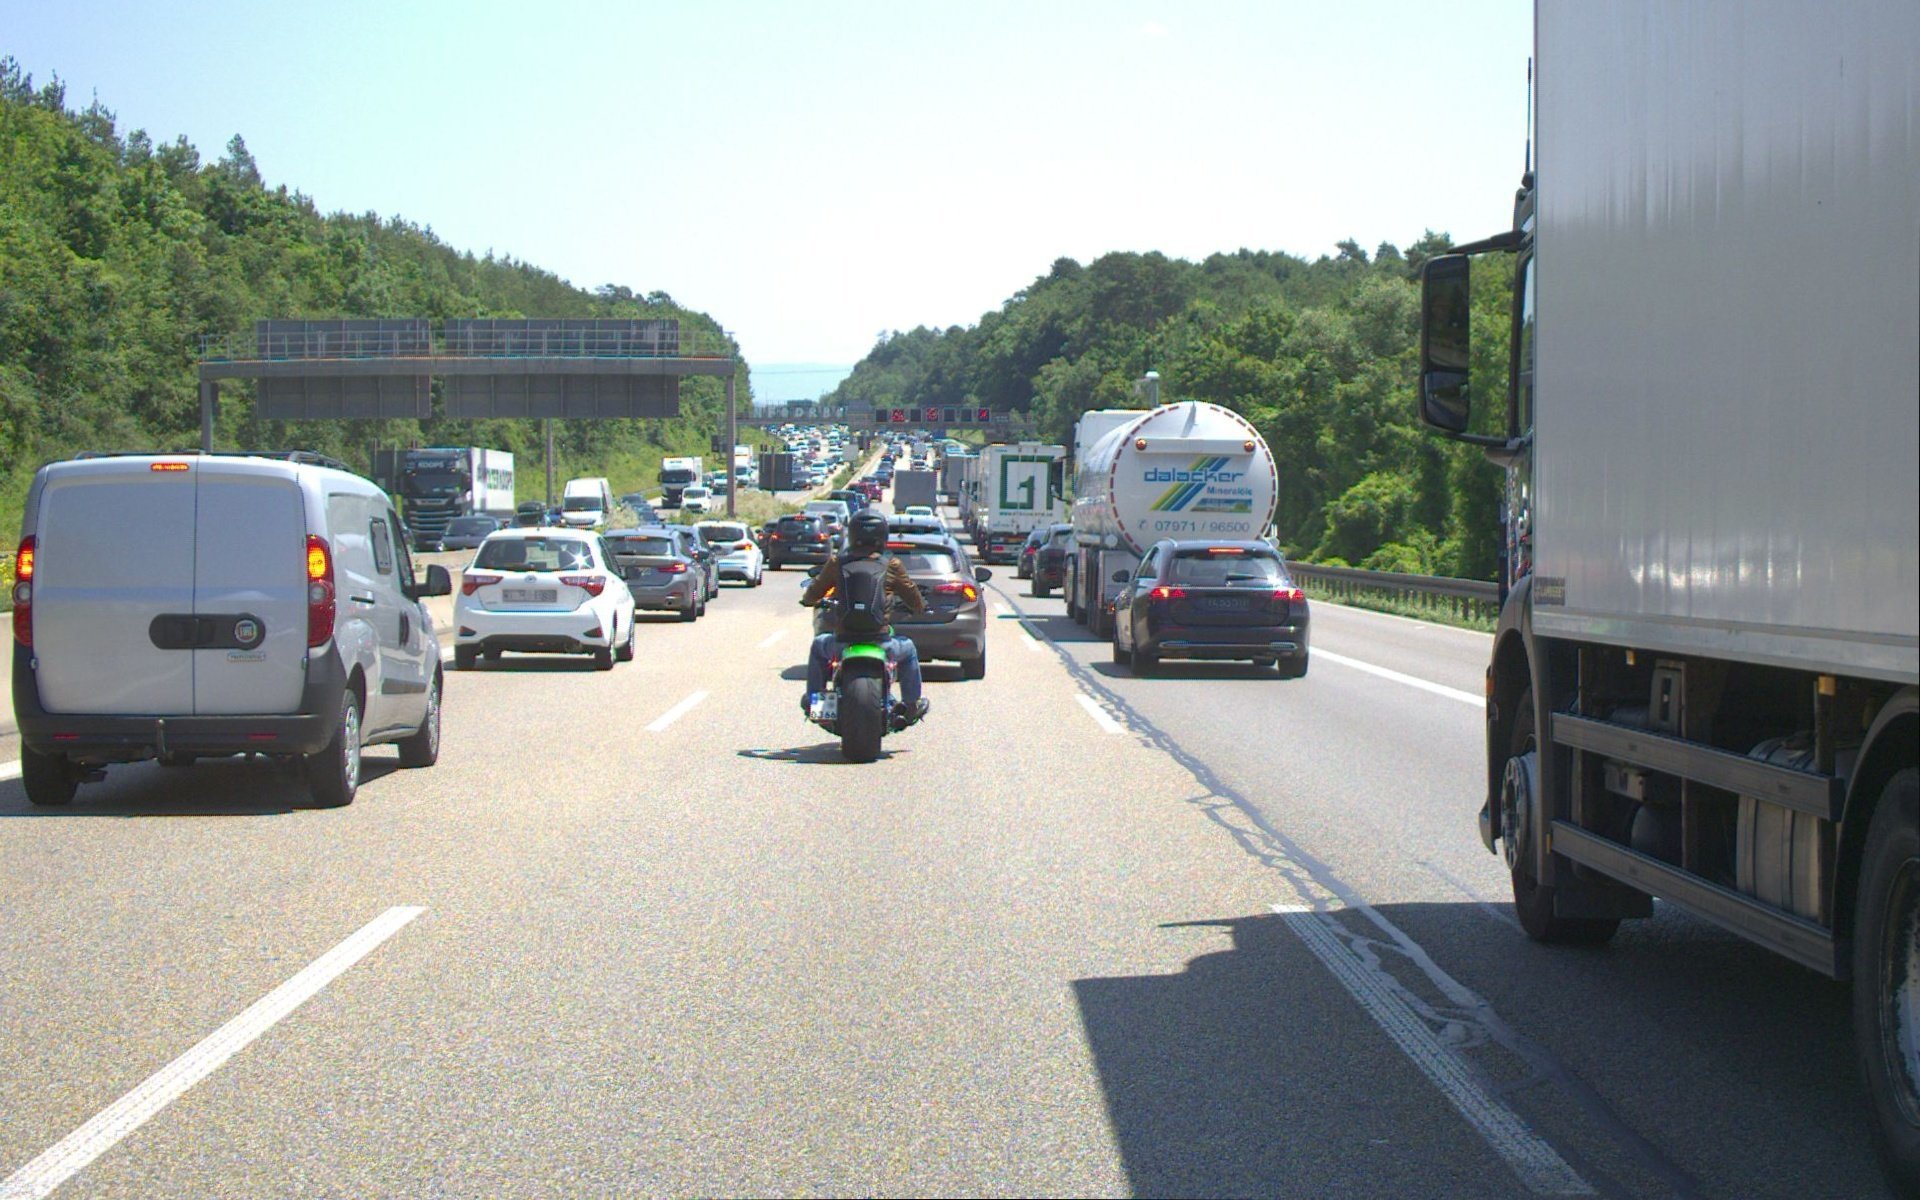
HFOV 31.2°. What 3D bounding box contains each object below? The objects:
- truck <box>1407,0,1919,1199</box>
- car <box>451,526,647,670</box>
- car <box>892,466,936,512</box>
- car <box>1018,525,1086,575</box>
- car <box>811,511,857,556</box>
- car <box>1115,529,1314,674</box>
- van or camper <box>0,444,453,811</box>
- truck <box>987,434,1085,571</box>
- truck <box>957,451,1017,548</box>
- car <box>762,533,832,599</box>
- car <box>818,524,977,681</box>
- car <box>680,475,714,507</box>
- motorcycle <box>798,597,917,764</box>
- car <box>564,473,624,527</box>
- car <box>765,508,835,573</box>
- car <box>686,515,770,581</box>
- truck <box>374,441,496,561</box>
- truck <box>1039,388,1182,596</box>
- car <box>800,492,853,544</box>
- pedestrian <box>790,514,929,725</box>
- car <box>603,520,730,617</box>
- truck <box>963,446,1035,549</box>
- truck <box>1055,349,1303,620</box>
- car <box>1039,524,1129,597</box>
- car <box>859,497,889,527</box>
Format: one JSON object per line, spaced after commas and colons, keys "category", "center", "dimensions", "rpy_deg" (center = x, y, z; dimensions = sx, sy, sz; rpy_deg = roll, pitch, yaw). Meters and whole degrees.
{"category": "truck", "center": [3.256, -0.726, 9.144], "dimensions": [2.688, 3.863, 9.780], "rpy_deg": [-3, 1, 0]}
{"category": "car", "center": [-4.429, -0.062, 37.514], "dimensions": [1.699, 1.473, 4.000], "rpy_deg": [0, 1, -1]}
{"category": "car", "center": [-2.674, -6.421, 199.400], "dimensions": [2.504, 2.578, 5.016], "rpy_deg": [0, 1, -1]}
{"category": "car", "center": [2.589, -1.431, 97.223], "dimensions": [1.787, 1.370, 3.804], "rpy_deg": [0, 1, -1]}
{"category": "car", "center": [-5.968, -3.120, 162.810], "dimensions": [1.993, 2.007, 4.000], "rpy_deg": [-2, 0, 0]}
{"category": "car", "center": [2.722, -0.024, 37.602], "dimensions": [1.828, 1.465, 4.000], "rpy_deg": [1, 1, 0]}
{"category": "van or camper", "center": [-4.112, 0.128, 19.881], "dimensions": [1.796, 1.886, 4.160], "rpy_deg": [0, 0, -1]}
{"category": "truck", "center": [2.589, -3.371, 119.961], "dimensions": [3.033, 4.527, 9.983], "rpy_deg": [1, 1, -1]}
{"category": "truck", "center": [1.432, -5.487, 188.666], "dimensions": [3.033, 5.122, 9.983], "rpy_deg": [1, 1, -1]}
{"category": "car", "center": [-5.250, -1.089, 110.874], "dimensions": [1.993, 2.007, 4.000], "rpy_deg": [-2, 0, 0]}
{"category": "car", "center": [-0.661, -0.009, 36.080], "dimensions": [1.532, 1.504, 4.000], "rpy_deg": [-2, 1, -1]}
{"category": "car", "center": [-18.076, -7.467, 236.261], "dimensions": [1.880, 2.007, 4.468], "rpy_deg": [-3, 0, 0]}
{"category": "motorcycle", "center": [-0.666, 0.509, 22.873], "dimensions": [0.691, 1.012, 2.121], "rpy_deg": [1, 1, 1]}
{"category": "car", "center": [-16.539, -4.507, 155.641], "dimensions": [1.993, 2.369, 7.365], "rpy_deg": [0, 1, -1]}
{"category": "car", "center": [-4.695, -1.749, 101.083], "dimensions": [1.880, 1.853, 4.000], "rpy_deg": [1, 1, 0]}
{"category": "car", "center": [-5.262, -1.201, 78.344], "dimensions": [1.699, 1.473, 4.000], "rpy_deg": [0, 1, -1]}
{"category": "truck", "center": [-20.794, -3.879, 136.709], "dimensions": [3.724, 4.512, 7.326], "rpy_deg": [-2, 0, -1]}
{"category": "truck", "center": [2.640, -1.863, 61.257], "dimensions": [1.993, 3.510, 4.752], "rpy_deg": [-2, 0, -3]}
{"category": "car", "center": [-5.390, -3.315, 139.486], "dimensions": [1.929, 2.007, 4.000], "rpy_deg": [-2, 0, 0]}
{"category": "pedestrian", "center": [-0.666, 0.122, 23.055], "dimensions": [0.849, 1.357, 0.961], "rpy_deg": [-2, 1, 1]}
{"category": "car", "center": [-4.597, -0.517, 54.235], "dimensions": [1.699, 1.473, 4.000], "rpy_deg": [0, 1, -1]}
{"category": "truck", "center": [1.730, -4.708, 158.653], "dimensions": [3.033, 4.527, 9.983], "rpy_deg": [1, 1, -1]}
{"category": "truck", "center": [3.170, -1.629, 52.325], "dimensions": [2.988, 3.659, 9.288], "rpy_deg": [-2, 0, 0]}
{"category": "car", "center": [2.687, -0.878, 75.194], "dimensions": [1.787, 1.550, 3.804], "rpy_deg": [0, 1, -1]}
{"category": "car", "center": [-5.919, -6.053, 236.334], "dimensions": [1.993, 2.007, 4.000], "rpy_deg": [1, 1, 0]}
